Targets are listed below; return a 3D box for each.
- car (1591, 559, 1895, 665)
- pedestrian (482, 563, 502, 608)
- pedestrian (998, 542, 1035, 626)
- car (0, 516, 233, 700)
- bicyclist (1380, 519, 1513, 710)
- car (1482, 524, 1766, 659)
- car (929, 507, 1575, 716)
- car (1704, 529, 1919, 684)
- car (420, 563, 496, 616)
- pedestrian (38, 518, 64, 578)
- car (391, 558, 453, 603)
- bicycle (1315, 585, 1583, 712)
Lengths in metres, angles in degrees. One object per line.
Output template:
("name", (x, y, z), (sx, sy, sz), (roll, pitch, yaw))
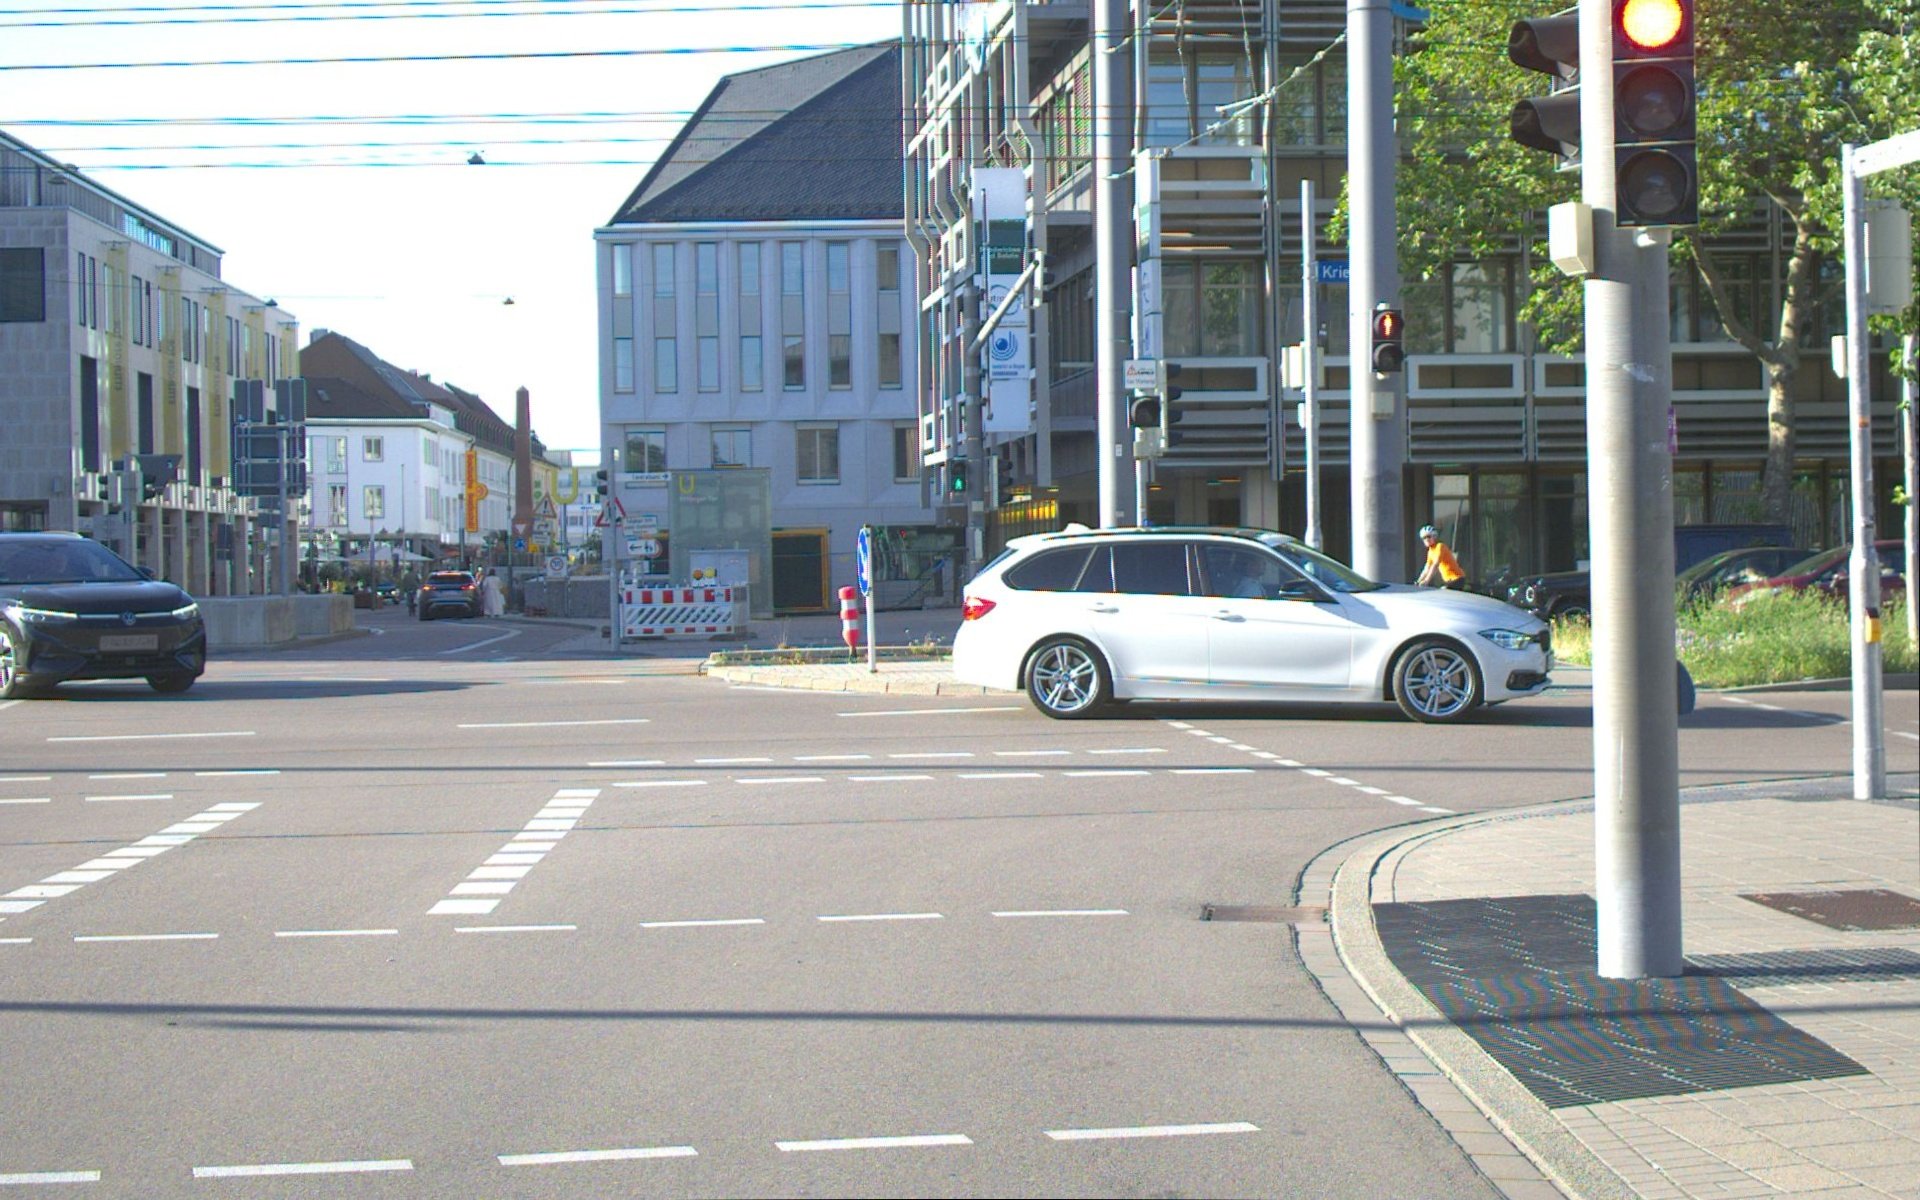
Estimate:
("car", (11.498, 0.160, 50.664), (3.986, 1.503, 1.868), (0, 1, -3))
("pedestrian", (-14.778, -0.461, 108.526), (0.609, 1.406, 0.570), (-1, 1, -6))
("pedestrian", (1.116, -0.329, 68.273), (0.663, 1.652, 0.755), (-1, 1, -3))
("car", (-8.909, 0.009, 32.882), (1.994, 1.596, 4.953), (-1, 2, -36))
("bicyclist", (6.666, 0.192, 47.143), (1.567, 2.571, 0.932), (-1, 1, -9))
("car", (10.350, -0.141, 53.781), (3.986, 2.007, 2.000), (1, 0, -3))
("car", (2.297, 0.084, 26.686), (4.690, 1.522, 1.999), (-1, 1, 16))
("car", (12.292, 0.090, 46.413), (3.986, 2.007, 2.000), (1, 0, -3))
("car", (-15.801, -0.349, 108.427), (2.199, 1.601, 4.327), (-1, 1, -6))
("pedestrian", (-30.723, -1.748, 116.167), (0.626, 2.007, 0.733), (-1, 1, 2))
("car", (-20.830, -0.751, 133.256), (1.993, 1.654, 4.407), (-2, 1, -4))
("bicycle", (6.697, 0.651, 47.150), (3.490, 1.653, 0.932), (-1, 1, -9))
